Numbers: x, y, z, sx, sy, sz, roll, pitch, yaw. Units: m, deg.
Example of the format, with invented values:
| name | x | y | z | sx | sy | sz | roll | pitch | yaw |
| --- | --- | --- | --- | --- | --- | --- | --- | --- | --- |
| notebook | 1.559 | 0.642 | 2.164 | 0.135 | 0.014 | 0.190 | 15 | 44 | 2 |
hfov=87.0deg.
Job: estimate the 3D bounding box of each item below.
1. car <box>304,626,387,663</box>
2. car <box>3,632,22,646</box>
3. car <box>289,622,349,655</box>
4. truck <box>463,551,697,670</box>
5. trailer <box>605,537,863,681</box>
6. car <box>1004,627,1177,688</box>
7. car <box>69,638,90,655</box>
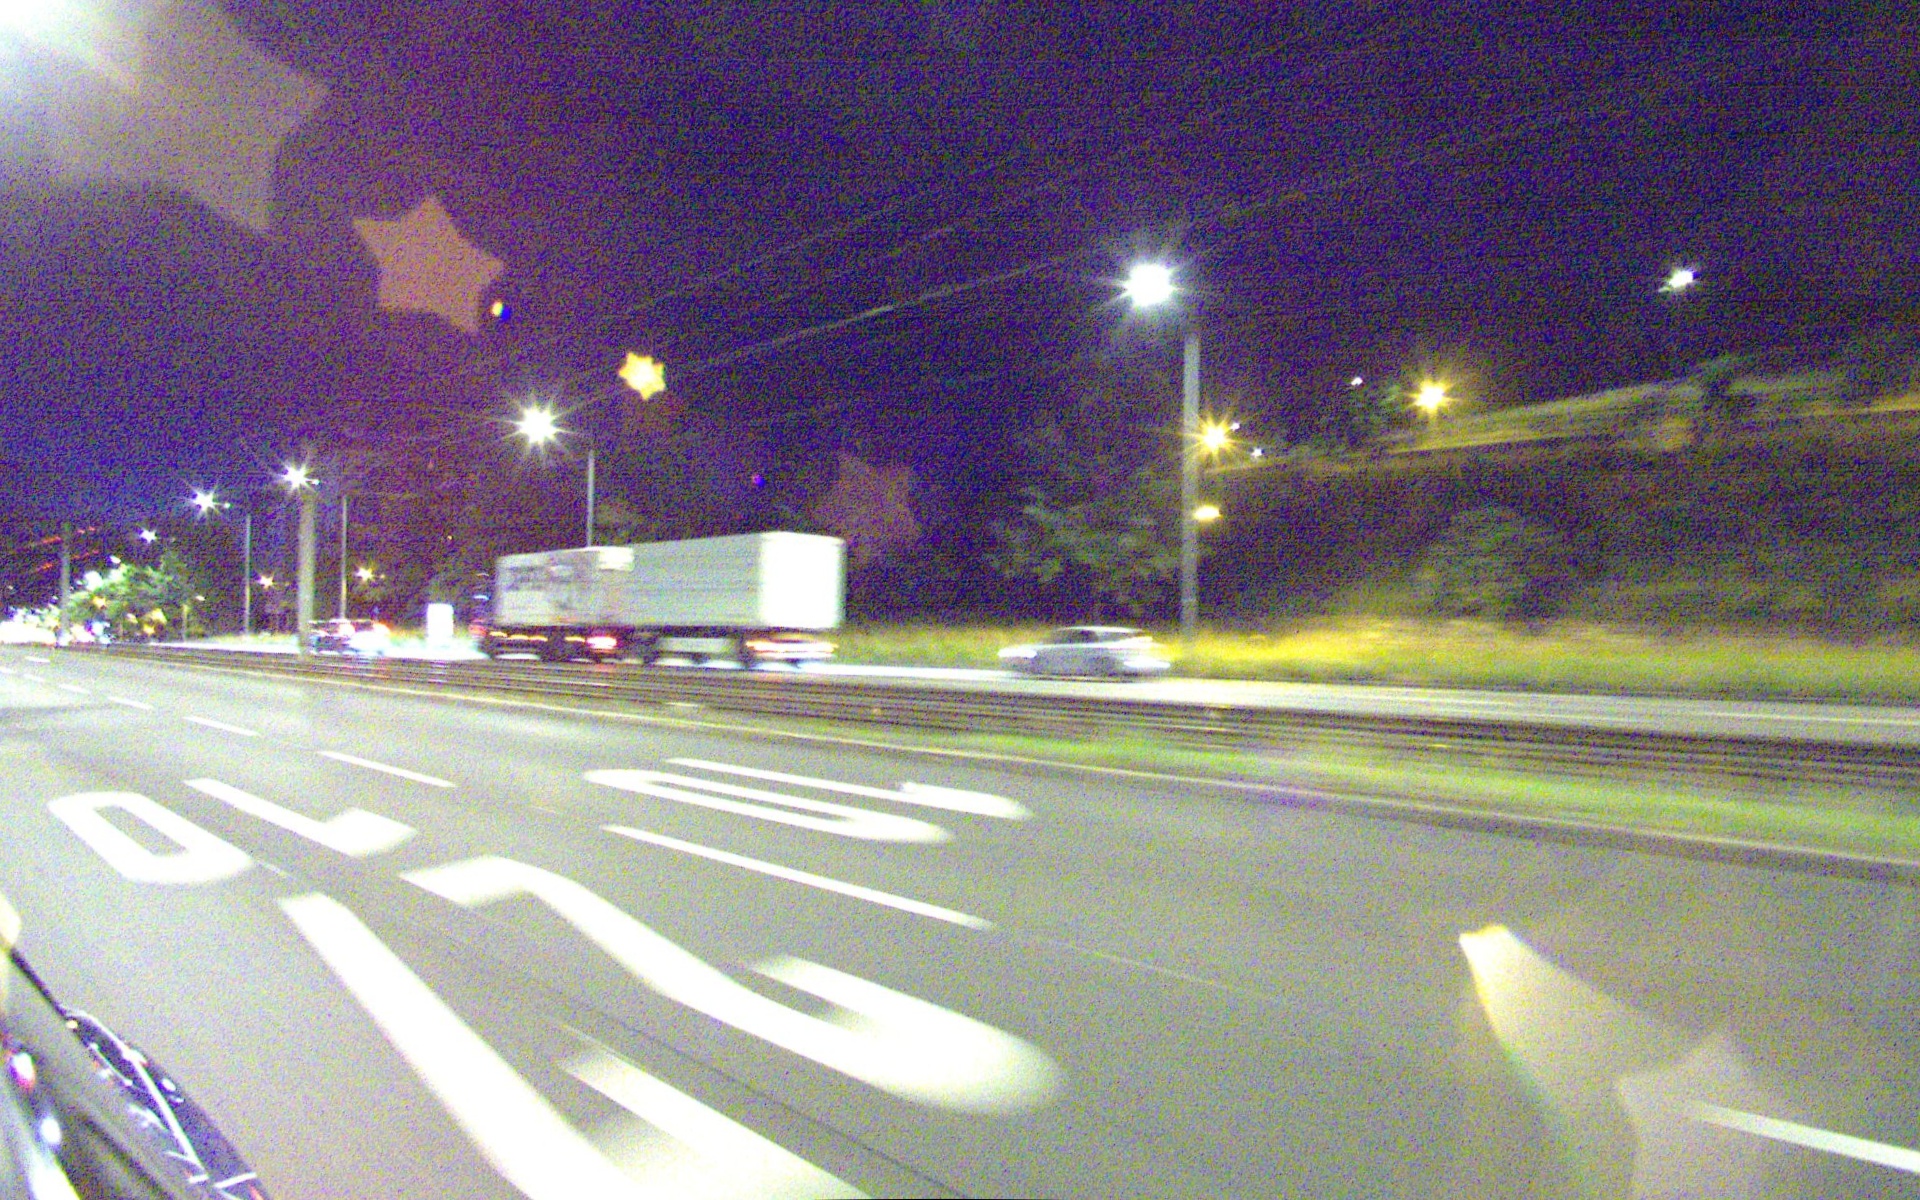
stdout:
| name | x | y | z | sx | sy | sz | roll | pitch | yaw |
| --- | --- | --- | --- | --- | --- | --- | --- | --- | --- |
| car | -26.732 | 1.896 | 44.010 | 4.079 | 1.510 | 1.787 | -1 | -1 | 38 |
| car | -131.945 | 5.410 | 140.948 | 1.769 | 1.921 | 4.002 | -1 | 0 | -45 |
| car | -34.646 | 2.051 | 54.645 | 3.960 | 1.637 | 1.707 | -1 | 0 | 41 |
| truck | -14.679 | 0.396 | 38.490 | 10.411 | 3.984 | 3.645 | -1 | 0 | 40 |
| trailer | -7.408 | 0.279 | 32.440 | 8.387 | 4.020 | 3.660 | -1 | 0 | 39 |
| car | 3.445 | 1.494 | 27.099 | 4.199 | 1.492 | 1.966 | -1 | -3 | 39 |
| car | -115.902 | 6.069 | 133.280 | 2.030 | 2.029 | 4.006 | -1 | 0 | -40 |
